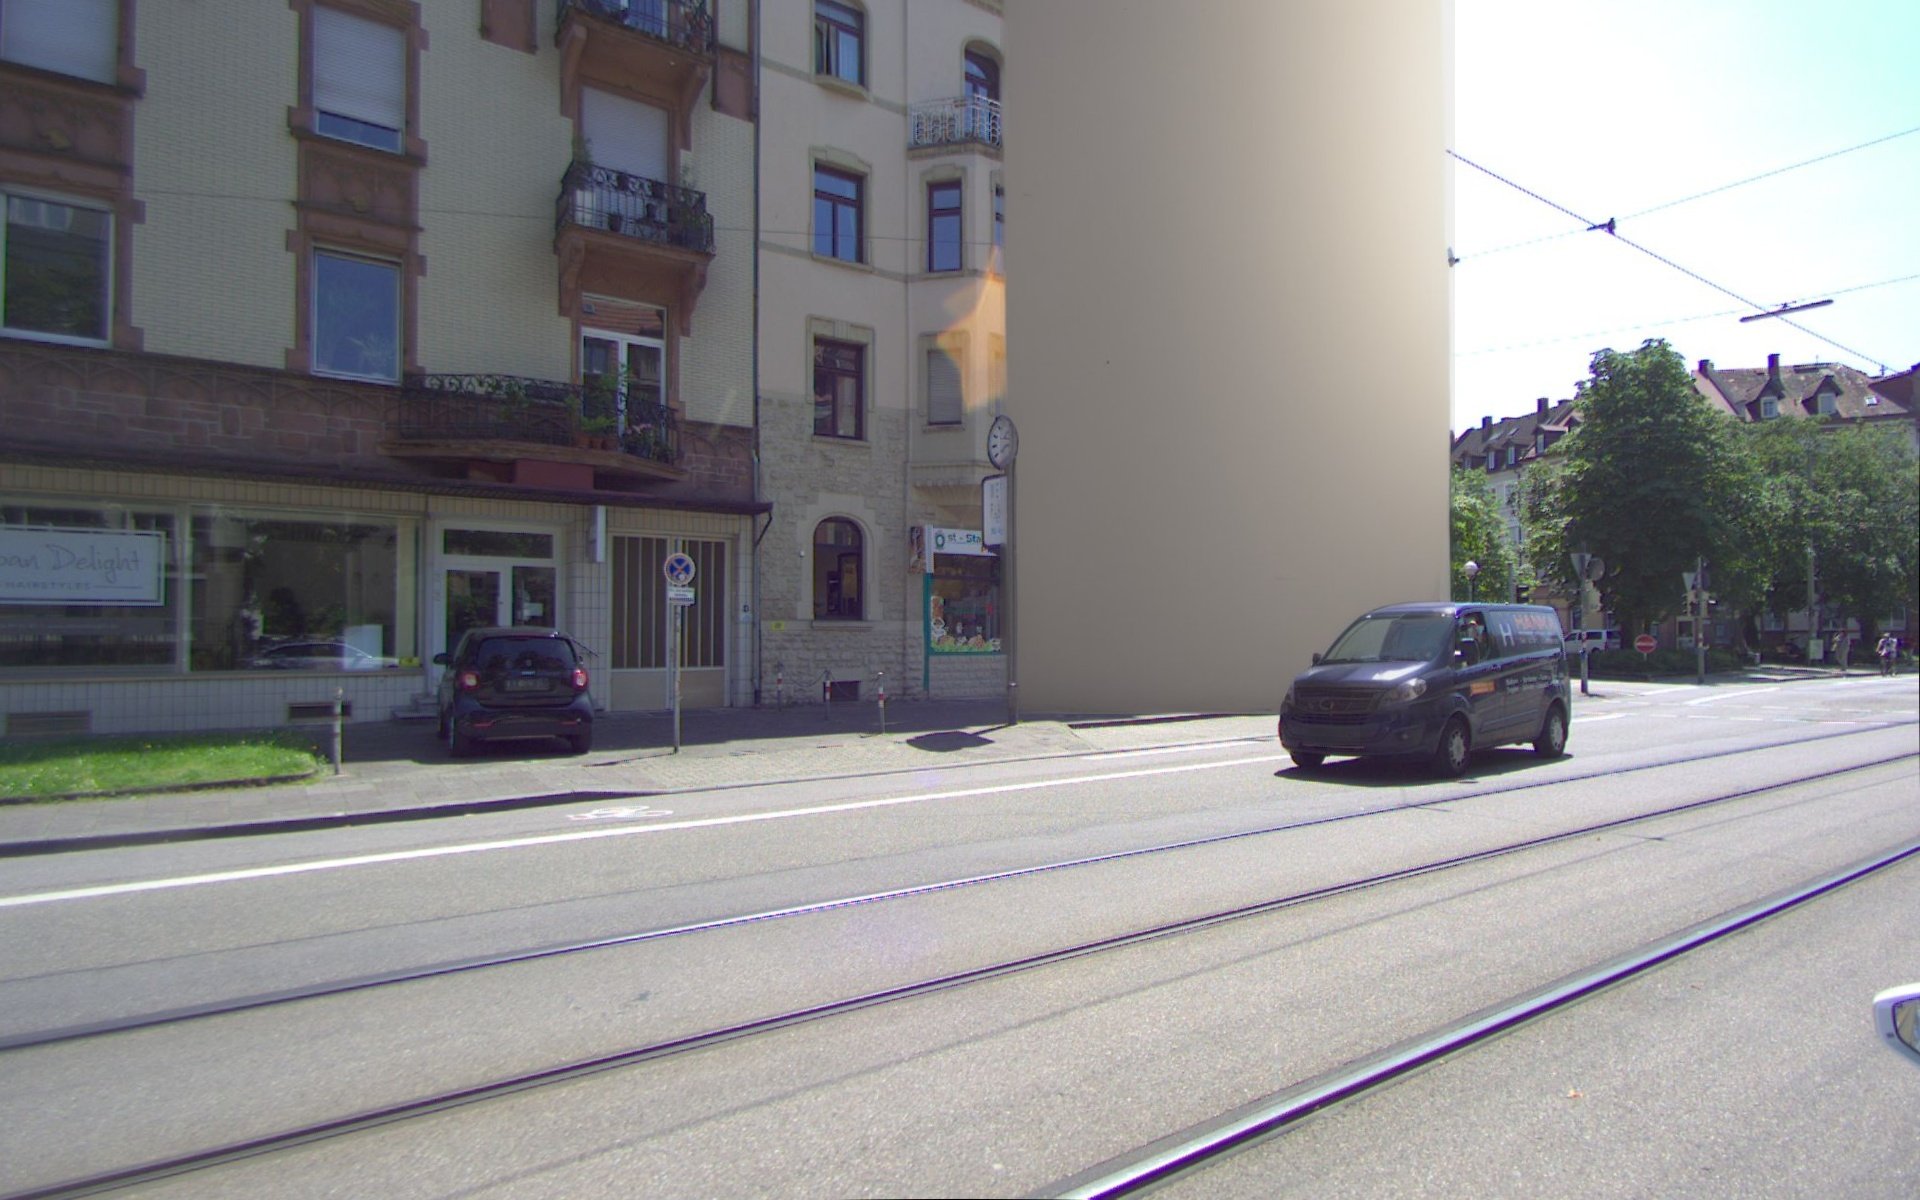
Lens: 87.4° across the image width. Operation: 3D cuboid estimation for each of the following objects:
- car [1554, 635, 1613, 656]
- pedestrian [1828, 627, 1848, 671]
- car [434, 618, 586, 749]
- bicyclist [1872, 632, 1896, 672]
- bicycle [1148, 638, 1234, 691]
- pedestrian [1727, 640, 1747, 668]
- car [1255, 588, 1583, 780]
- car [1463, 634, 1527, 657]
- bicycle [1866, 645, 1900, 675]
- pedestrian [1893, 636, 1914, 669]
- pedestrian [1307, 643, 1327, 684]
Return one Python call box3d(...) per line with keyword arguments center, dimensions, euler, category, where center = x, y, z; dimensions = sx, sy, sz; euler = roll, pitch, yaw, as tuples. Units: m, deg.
box3d(center=(44.974, 3.250, 72.532), dimensions=(1.514, 1.461, 3.735), euler=(1, -2, -10), category="car")
box3d(center=(38.590, 2.166, 44.152), dimensions=(0.488, 1.904, 0.508), euler=(2, -2, -30), category="pedestrian")
box3d(center=(-6.119, 1.013, 13.491), dimensions=(1.512, 1.491, 3.338), euler=(1, -1, -30), category="car")
box3d(center=(37.746, 2.112, 41.046), dimensions=(0.579, 1.595, 0.604), euler=(2, -2, -35), category="bicyclist")
box3d(center=(5.567, 1.548, 24.235), dimensions=(2.045, 1.241, 0.454), euler=(2, -2, -15), category="bicycle")
box3d(center=(35.857, 2.470, 46.373), dimensions=(0.539, 1.272, 0.646), euler=(1, -2, 15), category="pedestrian")
box3d(center=(5.854, 0.994, 12.536), dimensions=(4.784, 1.962, 1.829), euler=(3, -5, -40), category="car")
box3d(center=(36.634, 3.110, 68.835), dimensions=(1.521, 1.461, 3.717), euler=(2, -2, -26), category="car")
box3d(center=(37.707, 2.447, 41.009), dimensions=(1.958, 1.172, 0.624), euler=(1, -2, -35), category="bicycle")
box3d(center=(48.252, 2.685, 51.387), dimensions=(0.766, 1.626, 0.674), euler=(2, -2, -38), category="pedestrian")
box3d(center=(9.612, 1.711, 27.060), dimensions=(0.402, 1.103, 0.352), euler=(2, -2, -38), category="pedestrian")
